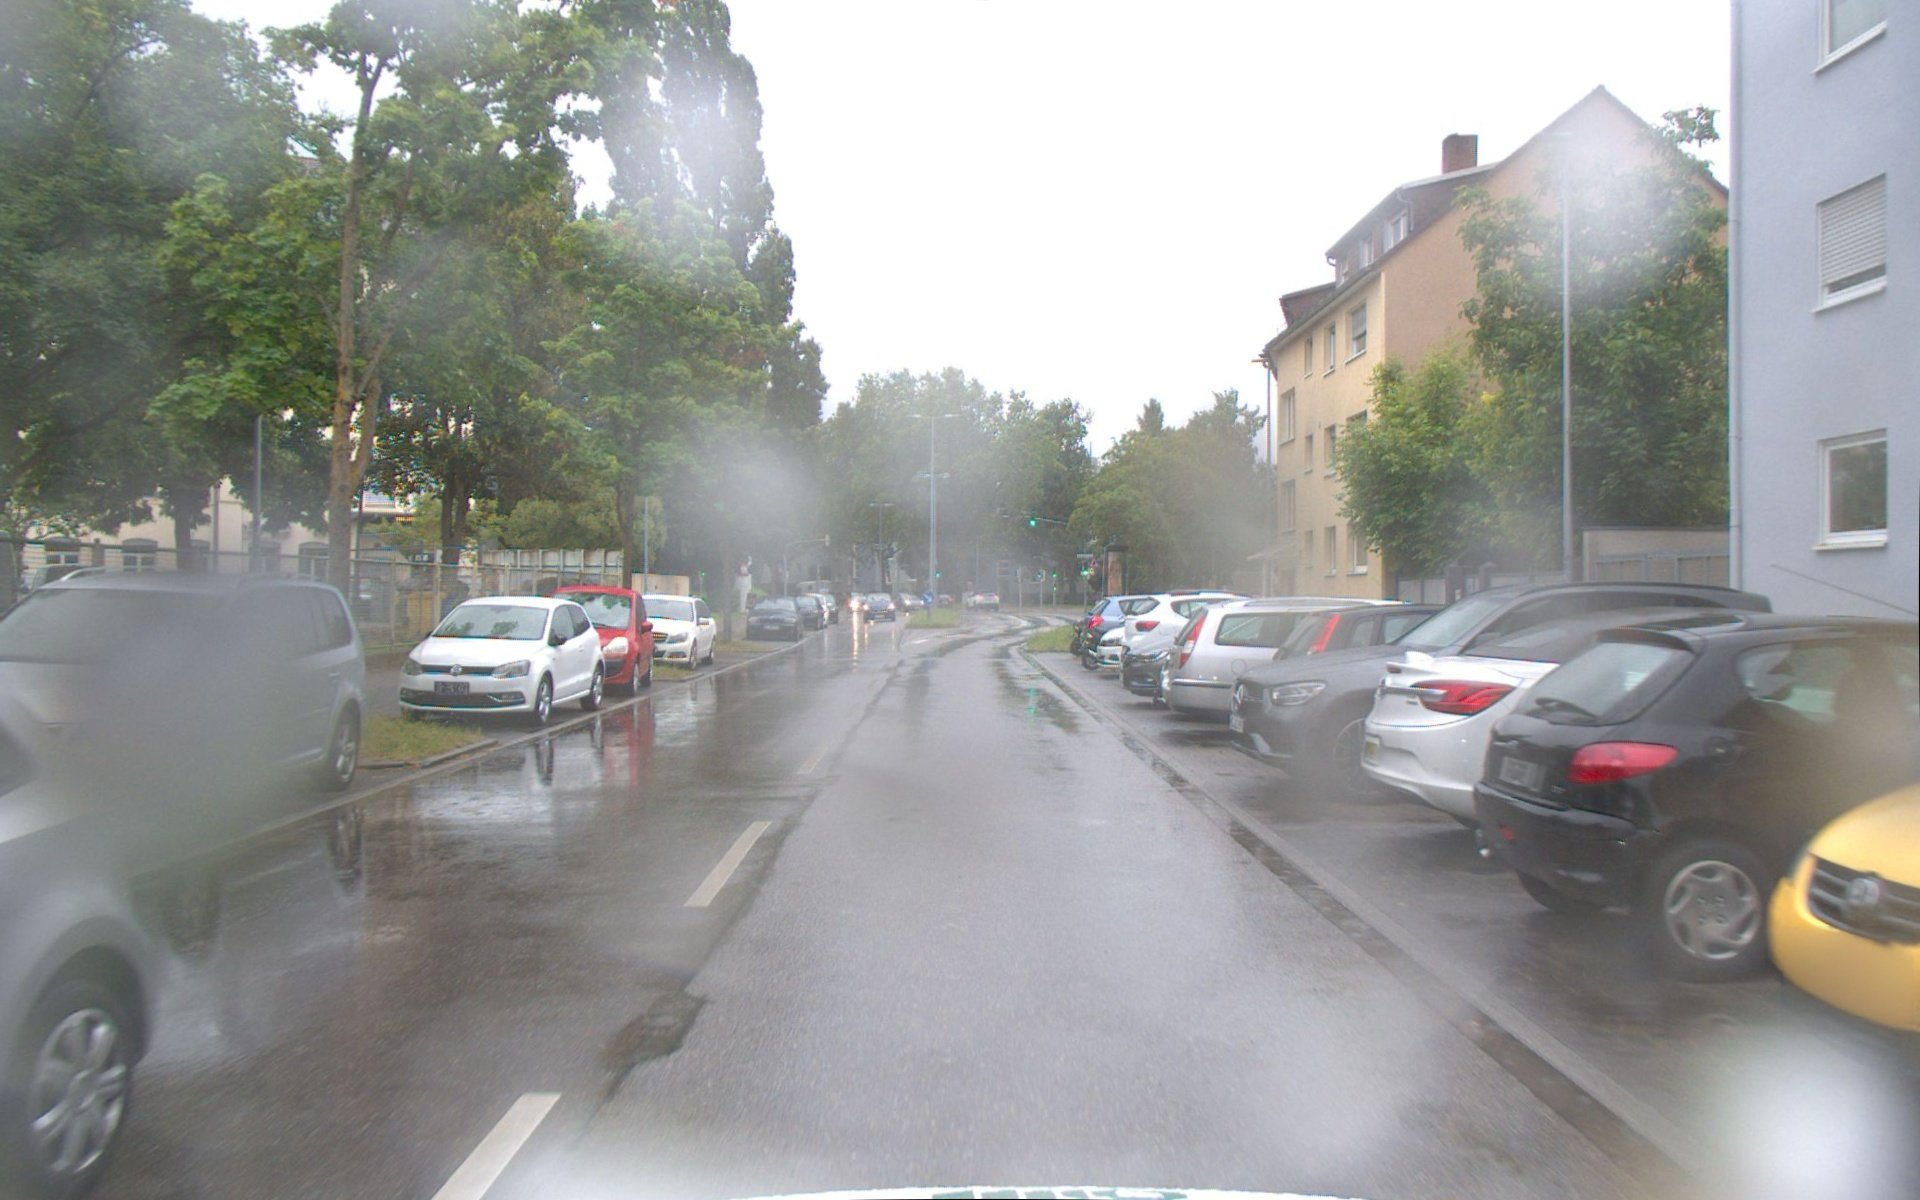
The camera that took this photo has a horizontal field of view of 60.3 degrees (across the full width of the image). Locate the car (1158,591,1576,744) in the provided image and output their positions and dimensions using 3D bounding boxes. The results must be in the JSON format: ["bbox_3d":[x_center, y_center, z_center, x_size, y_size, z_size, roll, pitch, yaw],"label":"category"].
[{"bbox_3d":[4.314,0.688,18.132,4.179,1.479,1.985,1,1,5],"label":"car"}]

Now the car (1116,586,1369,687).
[{"bbox_3d":[4.717,0.595,28.019,3.907,1.579,1.904,1,0,-2],"label":"car"}]

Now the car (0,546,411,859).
[{"bbox_3d":[-5.498,0.533,11.550,1.739,1.709,4.600,3,1,0],"label":"car"}]

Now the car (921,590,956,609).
[{"bbox_3d":[-1.798,-0.025,135.603,1.820,1.551,4.135,0,0,-16],"label":"car"}]

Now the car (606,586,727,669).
[{"bbox_3d":[-5.978,0.536,34.143,1.732,1.555,4.597,1,0,-1],"label":"car"}]

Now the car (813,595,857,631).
[{"bbox_3d":[-6.437,0.666,85.553,1.887,1.761,4.000,1,0,1],"label":"car"}]

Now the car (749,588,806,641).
[{"bbox_3d":[-6.008,0.444,54.168,1.742,1.556,3.994,1,2,-7],"label":"car"}]

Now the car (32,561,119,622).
[{"bbox_3d":[-22.242,-0.207,41.547,1.688,1.459,3.610,1,0,-32],"label":"car"}]

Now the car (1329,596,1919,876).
[{"bbox_3d":[4.463,0.747,10.033,4.013,1.483,2.000,1,0,1],"label":"car"}]

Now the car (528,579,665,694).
[{"bbox_3d":[-5.586,0.531,25.831,1.594,1.626,4.196,1,0,-6],"label":"car"}]

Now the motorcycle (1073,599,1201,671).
[{"bbox_3d":[3.464,0.682,32.460,2.352,1.347,0.918,1,0,-5],"label":"motorcycle"}]

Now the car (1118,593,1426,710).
[{"bbox_3d":[4.245,0.682,22.904,3.905,1.491,1.781,1,0,-1],"label":"car"}]

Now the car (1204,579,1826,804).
[{"bbox_3d":[4.240,0.678,13.168,4.253,1.579,2.039,1,0,-1],"label":"car"}]

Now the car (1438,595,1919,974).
[{"bbox_3d":[4.368,0.755,7.426,3.906,1.467,1.781,1,0,-1],"label":"car"}]

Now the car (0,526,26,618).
[{"bbox_3d":[-24.079,-0.690,40.420,1.974,2.159,3.956,1,0,-32],"label":"car"}]

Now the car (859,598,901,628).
[{"bbox_3d":[-4.167,0.671,86.450,1.952,1.512,4.000,1,0,0],"label":"car"}]

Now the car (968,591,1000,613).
[{"bbox_3d":[1.737,0.144,120.604,1.814,1.551,3.994,0,0,-7],"label":"car"}]

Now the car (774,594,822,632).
[{"bbox_3d":[-6.723,0.519,68.959,1.891,1.510,3.997,0,0,-4],"label":"car"}]

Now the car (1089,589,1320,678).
[{"bbox_3d":[4.463,0.604,30.567,3.908,1.516,1.861,1,0,-4],"label":"car"}]

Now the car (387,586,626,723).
[{"bbox_3d":[-5.465,0.611,20.464,1.626,1.486,4.174,1,0,2],"label":"car"}]

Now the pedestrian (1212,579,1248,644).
[{"bbox_3d":[8.596,0.363,52.700,0.989,2.049,0.952,1,0,17],"label":"pedestrian"}]

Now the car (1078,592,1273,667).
[{"bbox_3d":[4.550,0.618,35.352,3.905,1.487,1.934,1,0,0],"label":"car"}]

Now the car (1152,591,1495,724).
[{"bbox_3d":[4.435,0.689,20.634,3.904,1.499,1.803,1,0,2],"label":"car"}]

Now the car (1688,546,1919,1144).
[{"bbox_3d":[4.484,0.683,4.818,3.907,1.579,1.852,1,0,-2],"label":"car"}]

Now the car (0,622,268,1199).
[{"bbox_3d":[-2.970,0.774,2.789,1.637,1.407,4.253,0,0,3],"label":"car"}]

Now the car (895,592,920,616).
[{"bbox_3d":[-3.942,0.295,124.215,1.706,1.718,3.996,1,0,-4],"label":"car"}]

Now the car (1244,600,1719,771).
[{"bbox_3d":[4.830,0.766,15.720,3.906,1.436,1.845,1,0,-1],"label":"car"}]

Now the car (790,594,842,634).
[{"bbox_3d":[-6.538,0.636,75.277,1.887,1.761,4.000,1,0,1],"label":"car"}]

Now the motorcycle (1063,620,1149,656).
[{"bbox_3d":[3.524,0.902,39.960,2.028,0.806,0.711,1,0,6],"label":"motorcycle"}]

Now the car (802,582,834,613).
[{"bbox_3d":[-15.442,-0.322,179.723,2.188,3.294,4.640,1,0,-22],"label":"car"}]
